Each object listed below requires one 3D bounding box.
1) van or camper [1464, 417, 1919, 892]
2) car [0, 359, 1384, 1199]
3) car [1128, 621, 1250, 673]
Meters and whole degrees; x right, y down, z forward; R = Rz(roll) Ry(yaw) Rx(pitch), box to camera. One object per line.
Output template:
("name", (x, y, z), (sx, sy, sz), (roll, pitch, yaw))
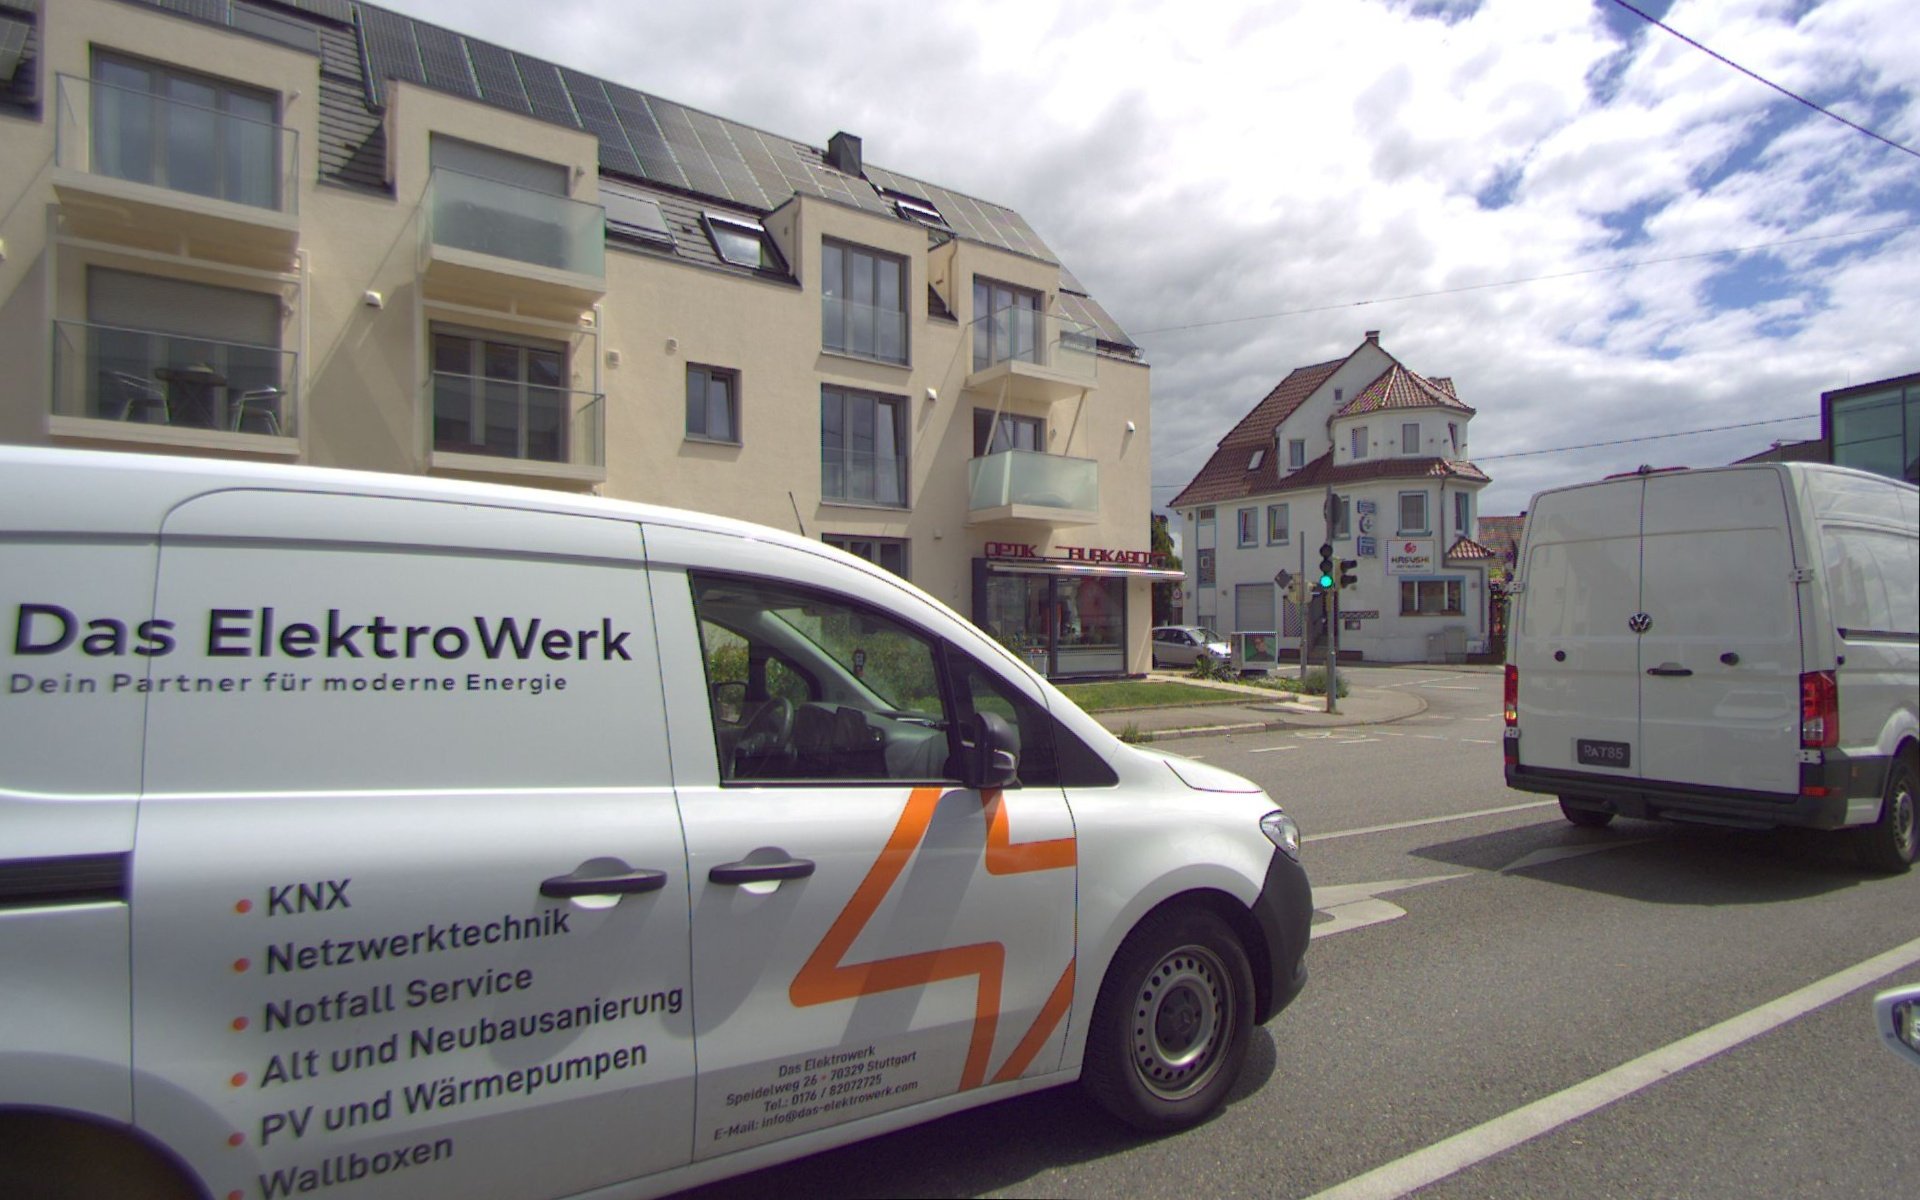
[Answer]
("van or camper", (6.596, 0.383, 7.968), (5.584, 2.620, 2.096), (1, -2, -33))
("car", (-0.902, 0.584, 2.942), (4.370, 1.836, 1.806), (1, -1, -32))
("car", (8.136, 1.633, 35.906), (1.981, 1.706, 3.959), (1, -1, -36))
